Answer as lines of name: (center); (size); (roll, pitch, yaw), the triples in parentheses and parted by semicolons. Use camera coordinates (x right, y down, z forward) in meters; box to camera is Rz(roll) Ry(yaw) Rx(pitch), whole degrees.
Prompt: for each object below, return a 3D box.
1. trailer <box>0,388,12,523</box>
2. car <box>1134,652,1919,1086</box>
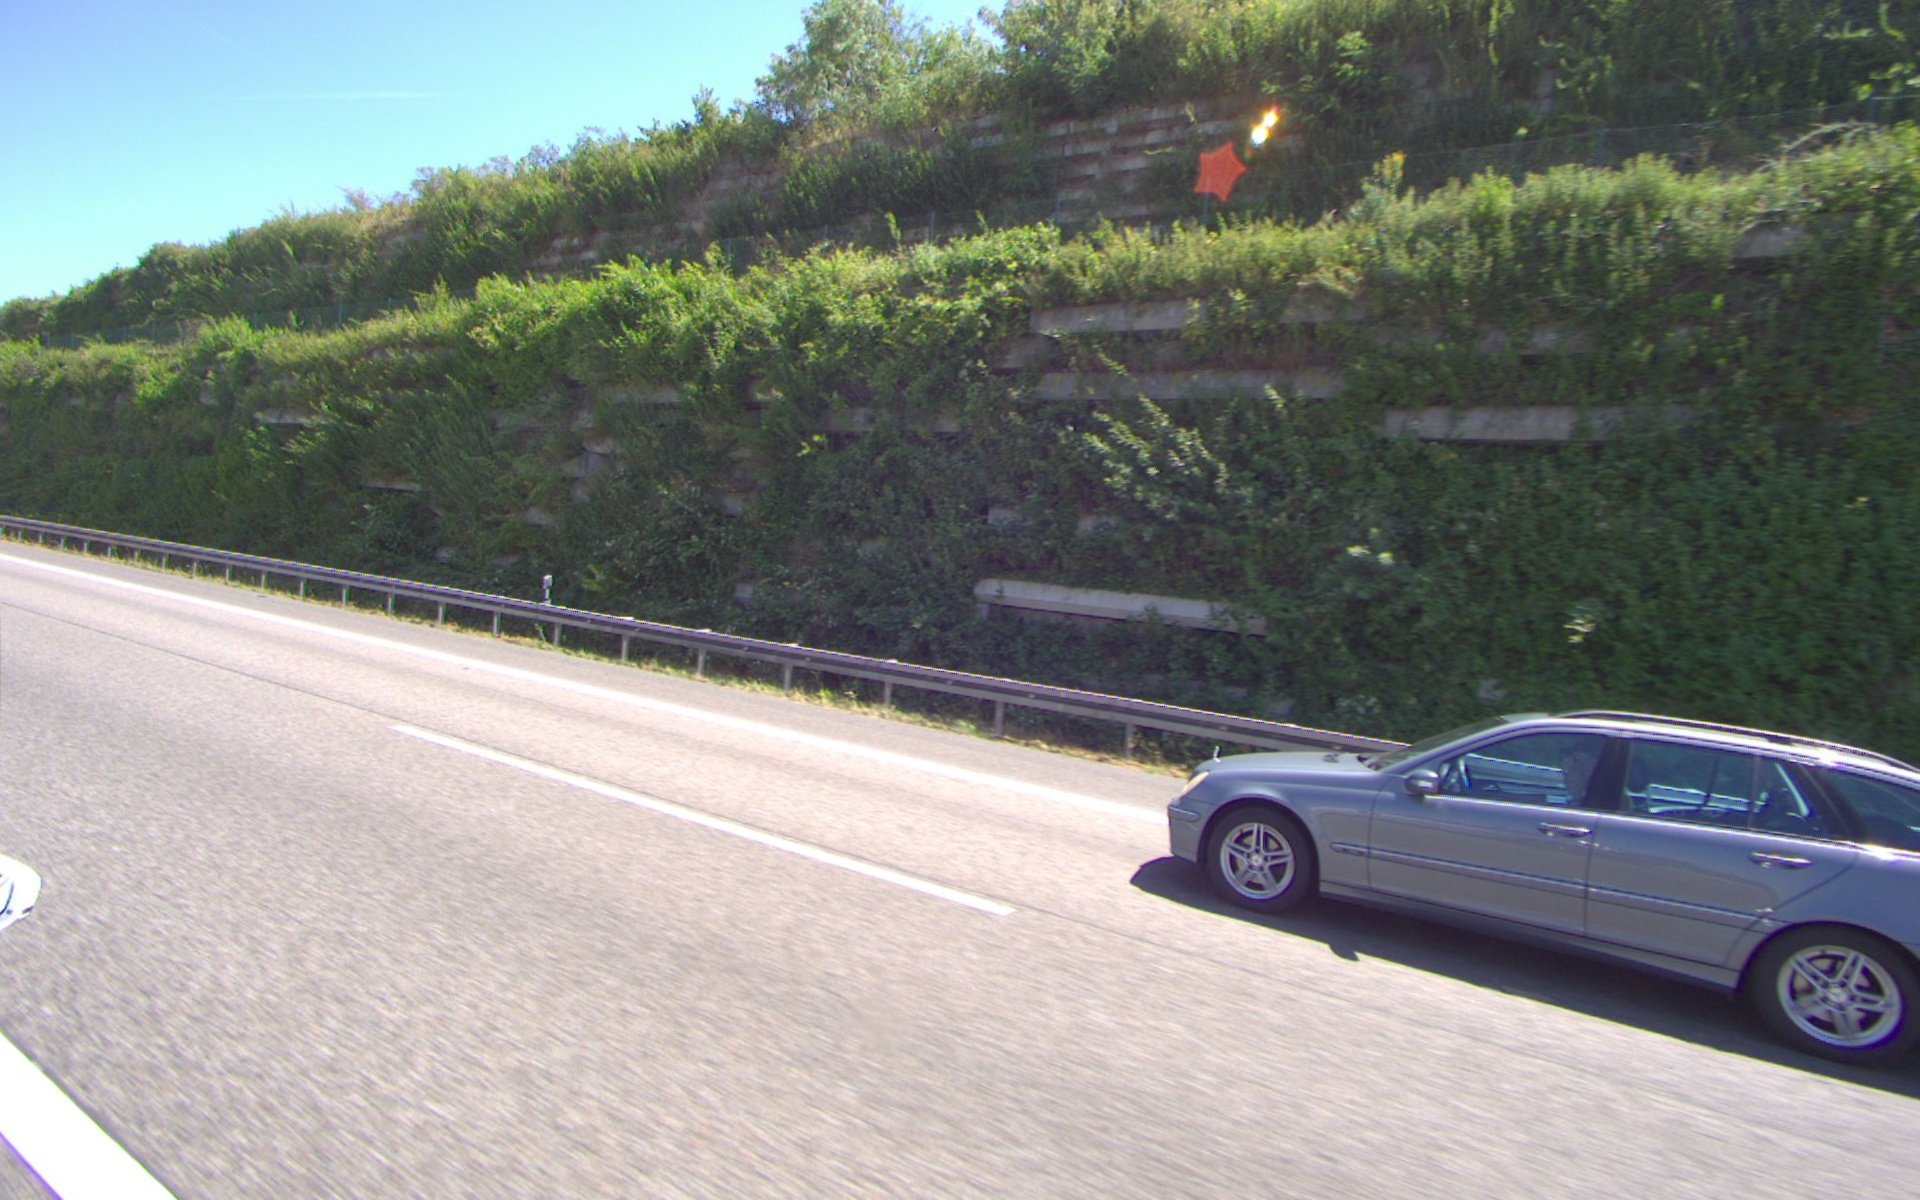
trailer: (-30.411, -3.955, 27.381); (13.208, 4.173, 3.186); (7, 1, 32)
car: (3.456, 1.333, 5.880); (4.378, 1.445, 1.687); (7, -1, 31)
